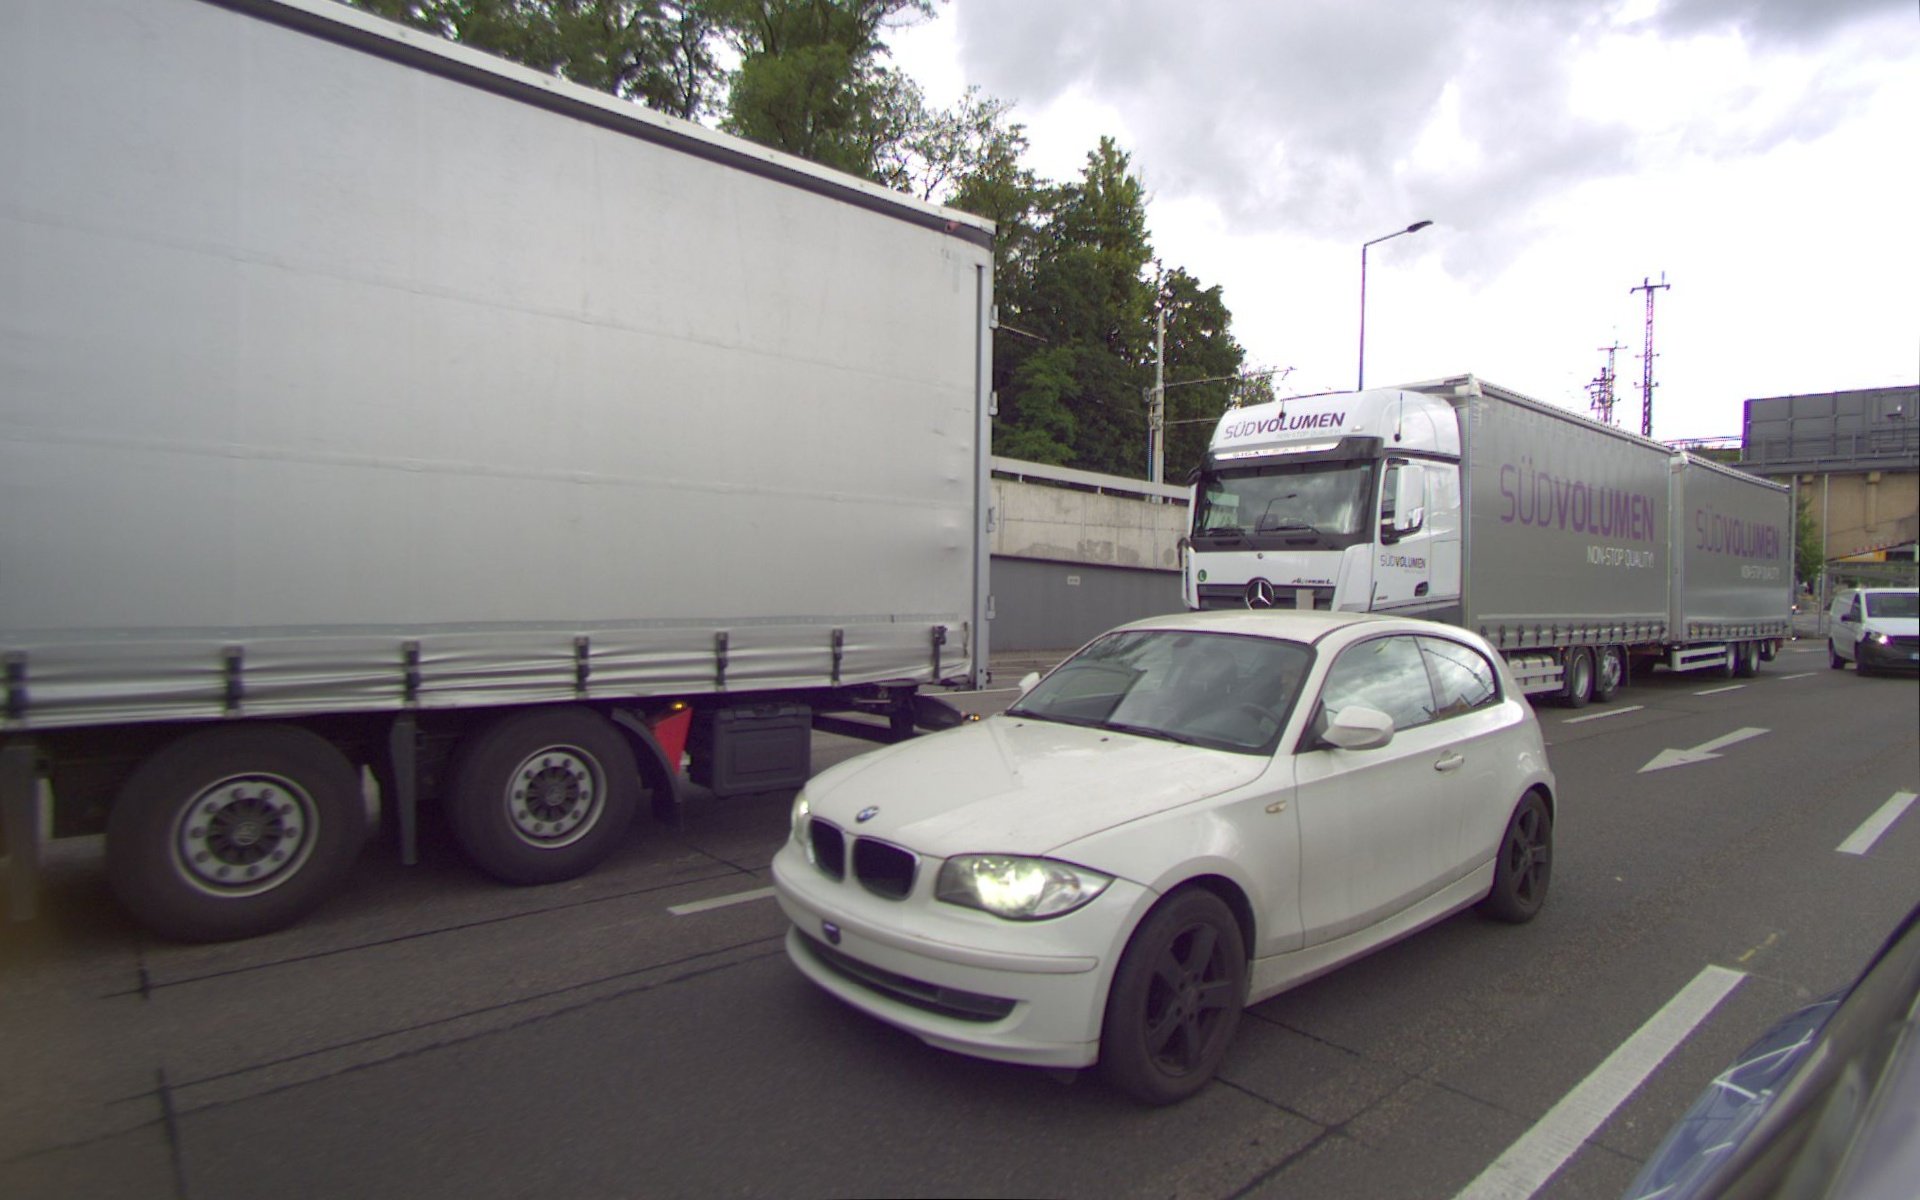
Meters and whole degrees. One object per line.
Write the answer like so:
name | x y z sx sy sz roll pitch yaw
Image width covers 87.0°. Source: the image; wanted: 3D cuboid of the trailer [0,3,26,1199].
trailer | -3.499 0.046 0.203 4.725 2.672 2.107 -1 1 -40

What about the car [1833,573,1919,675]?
car | 20.758 0.456 21.992 1.985 2.015 5.138 0 0 33

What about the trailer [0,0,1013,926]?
trailer | -5.344 -1.170 4.511 11.903 4.690 3.811 0 0 -41

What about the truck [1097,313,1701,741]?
truck | 7.040 -0.742 14.835 10.788 4.194 3.731 0 0 -40

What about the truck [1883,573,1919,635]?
truck | 58.404 0.193 60.652 2.553 3.613 9.020 0 0 30

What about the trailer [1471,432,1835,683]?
trailer | 15.297 -0.738 21.810 10.788 4.194 3.731 0 0 -40

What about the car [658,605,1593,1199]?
car | 1.072 0.753 4.411 4.271 1.416 1.719 0 0 -41
